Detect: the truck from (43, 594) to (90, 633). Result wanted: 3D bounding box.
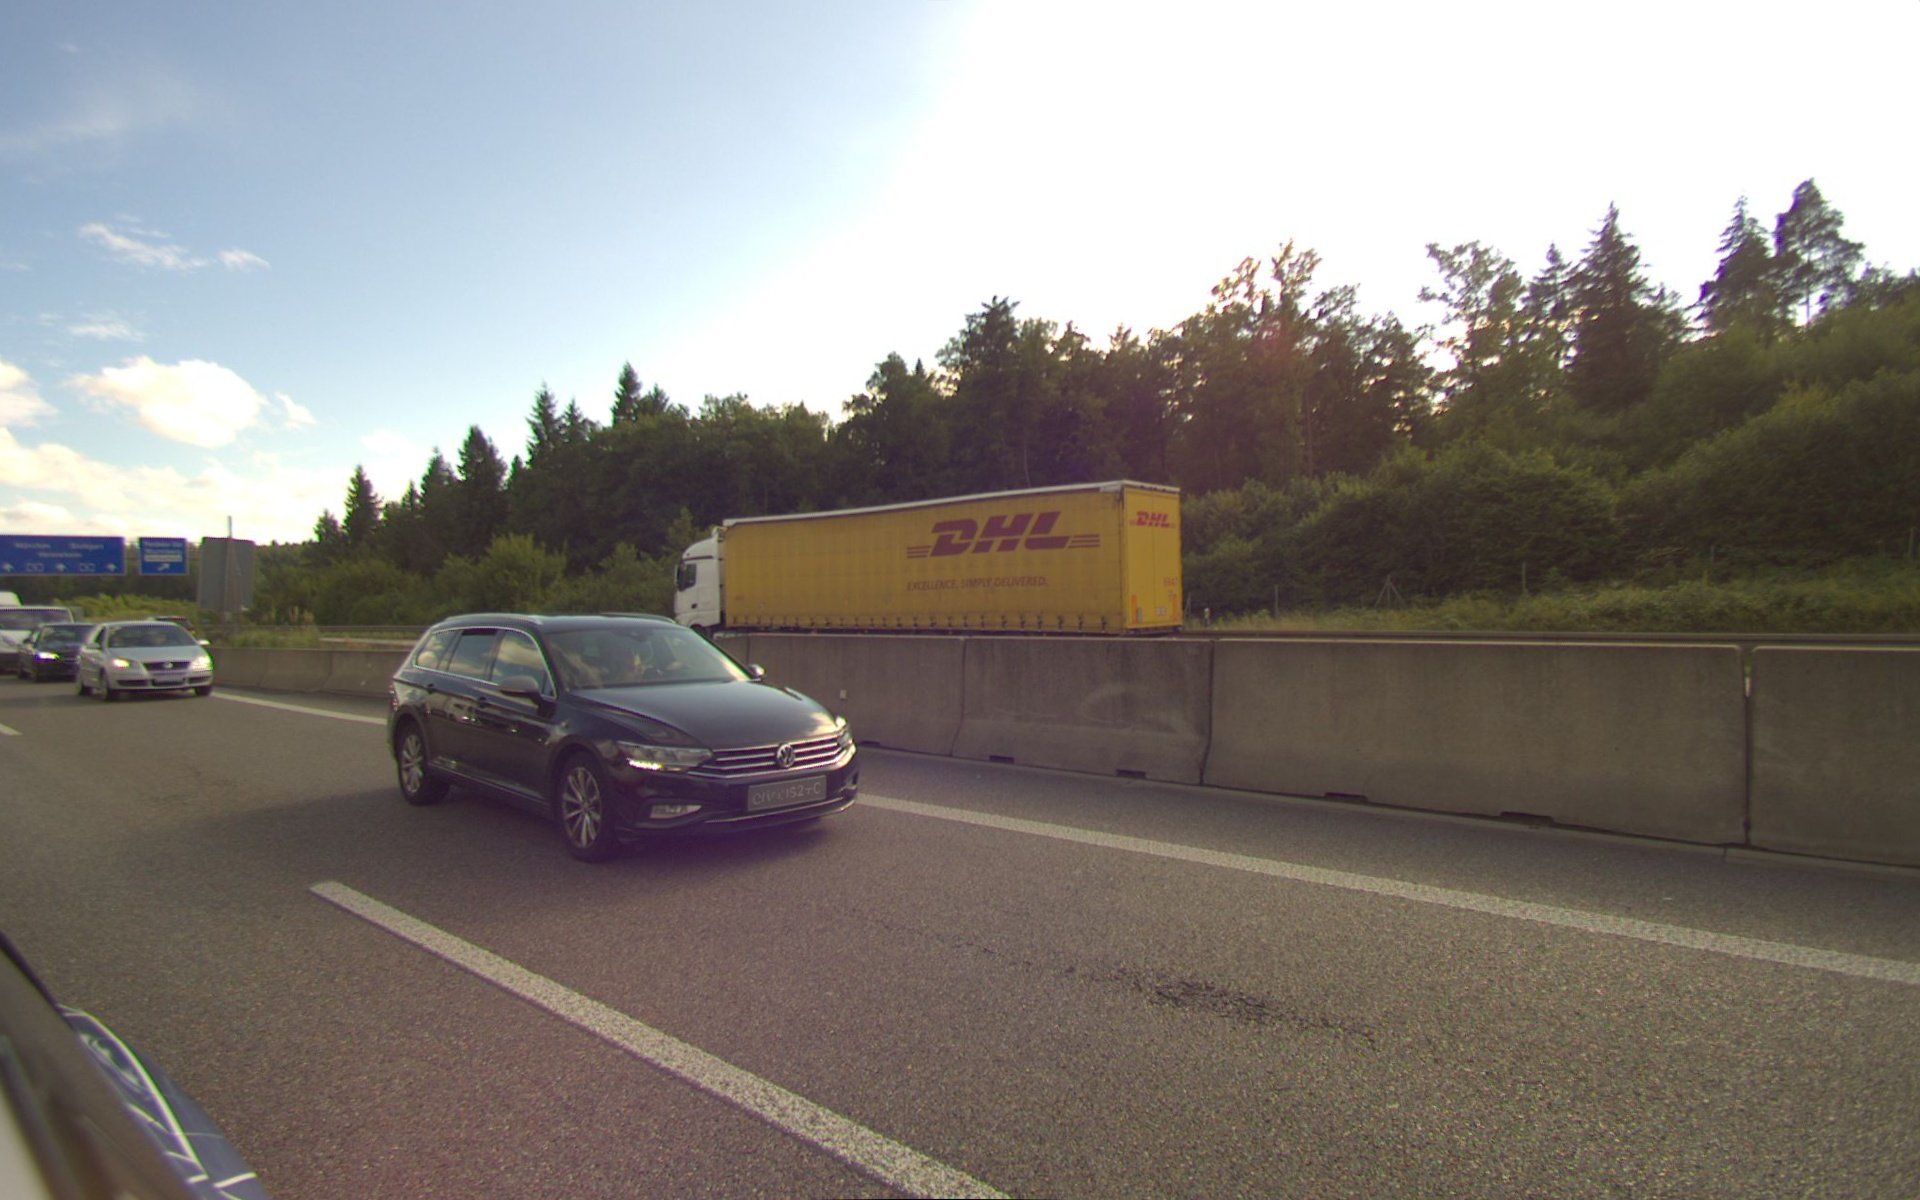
[{"bbox_3d":[-102.886,1.516,116.499,12.044,4.234,2.803,-1,0,43],"label":"truck"}]

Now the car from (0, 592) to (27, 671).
[{"bbox_3d":[-33.726,1.074,34.615,5.858,2.591,2.028,-1,-2,41],"label":"car"}]

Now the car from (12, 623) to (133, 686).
[{"bbox_3d":[-22.504,1.325,25.621,3.991,1.442,1.786,-1,0,41],"label":"car"}]

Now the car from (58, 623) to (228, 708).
[{"bbox_3d":[-16.070,1.197,19.813,4.664,1.442,1.786,-1,0,41],"label":"car"}]

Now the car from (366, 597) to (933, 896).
[{"bbox_3d":[-2.485,0.774,7.306,4.568,1.488,1.890,-1,-1,43],"label":"car"}]

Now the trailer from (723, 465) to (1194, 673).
[{"bbox_3d":[-0.824,-0.572,26.049,13.553,4.234,2.805,-1,0,40],"label":"trailer"}]

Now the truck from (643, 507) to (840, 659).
[{"bbox_3d":[-6.825,-0.466,31.186,6.075,4.234,2.805,-1,0,40],"label":"truck"}]

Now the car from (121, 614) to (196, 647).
[{"bbox_3d":[-37.827,1.444,47.730,4.317,1.442,1.787,-1,0,38],"label":"car"}]

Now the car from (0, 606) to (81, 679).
[{"bbox_3d":[-27.760,1.220,29.972,4.845,1.980,1.922,-1,-1,41],"label":"car"}]
